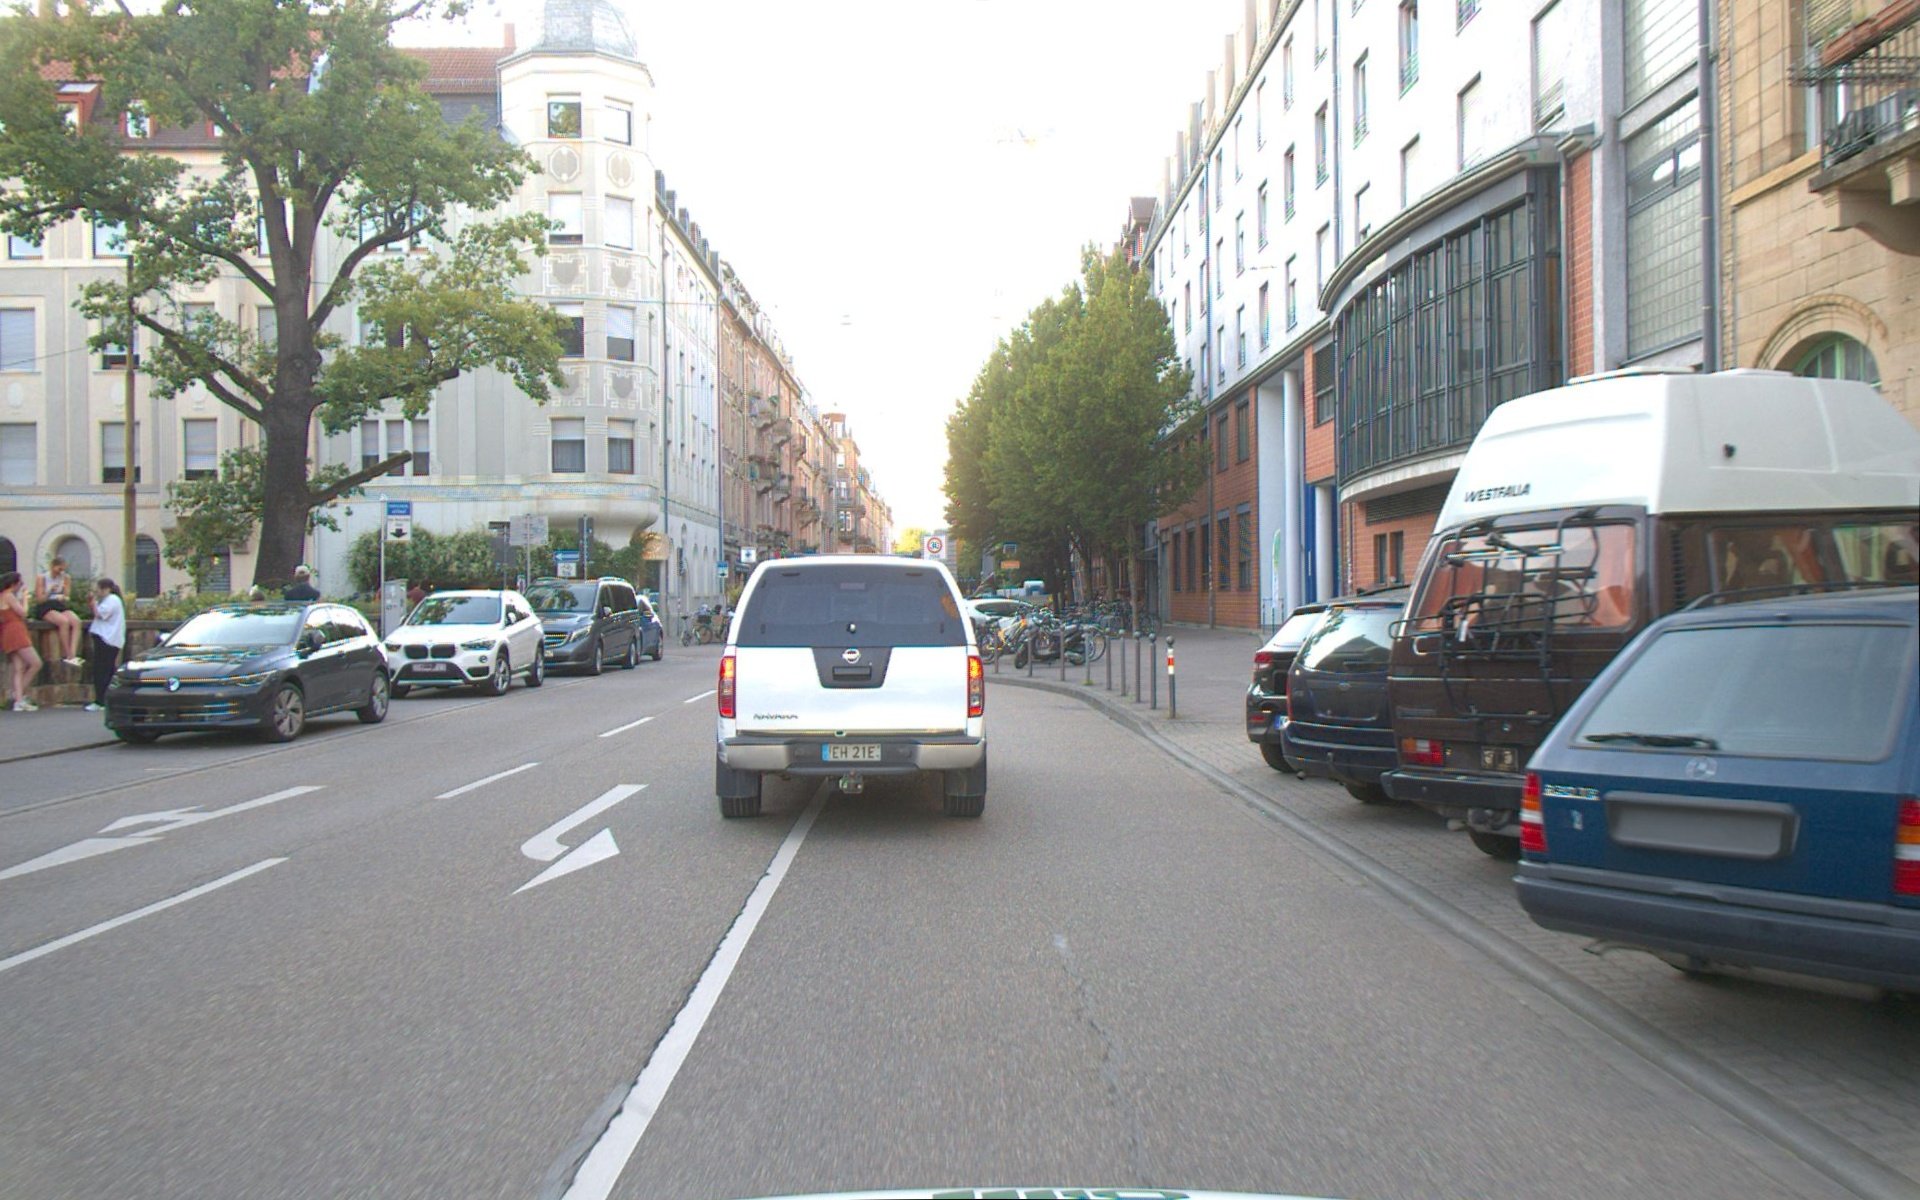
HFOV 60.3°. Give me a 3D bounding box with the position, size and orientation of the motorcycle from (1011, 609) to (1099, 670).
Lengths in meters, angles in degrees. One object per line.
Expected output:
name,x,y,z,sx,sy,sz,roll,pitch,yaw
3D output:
motorcycle,1.892,0.786,33.121,1.614,1.121,0.646,-3,0,-10

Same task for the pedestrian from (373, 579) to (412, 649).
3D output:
pedestrian,-14.452,0.362,42.109,0.692,1.751,0.836,-1,0,-3

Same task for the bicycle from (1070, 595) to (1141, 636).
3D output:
bicycle,5.223,0.559,59.337,2.482,1.403,0.599,-1,0,2

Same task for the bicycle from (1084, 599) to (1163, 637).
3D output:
bicycle,5.235,0.573,53.053,2.482,1.187,0.562,-1,0,2

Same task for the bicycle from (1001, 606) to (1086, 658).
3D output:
bicycle,1.856,0.703,36.852,1.820,1.056,0.402,-3,0,-2

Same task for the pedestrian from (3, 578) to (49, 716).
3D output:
pedestrian,-11.680,0.578,20.680,0.411,1.704,0.540,0,0,-40

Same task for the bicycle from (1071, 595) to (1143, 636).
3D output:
bicycle,5.198,0.564,58.655,2.482,1.403,0.599,-1,0,2

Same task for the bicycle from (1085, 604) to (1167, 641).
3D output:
bicycle,5.261,0.704,52.431,2.482,0.976,0.680,-4,0,2

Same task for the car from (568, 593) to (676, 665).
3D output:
car,-7.884,0.637,38.866,1.606,1.583,4.005,-1,0,1

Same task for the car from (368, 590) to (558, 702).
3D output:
car,-7.874,0.674,26.614,1.833,1.619,4.467,-1,0,-2

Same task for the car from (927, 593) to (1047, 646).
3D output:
car,0.898,0.606,53.480,3.562,1.608,1.696,-1,0,-34

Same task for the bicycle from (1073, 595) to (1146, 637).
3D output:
bicycle,5.231,0.561,57.941,2.482,1.403,0.599,-1,0,2

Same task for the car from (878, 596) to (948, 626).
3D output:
car,-2.901,0.683,102.623,4.106,1.811,1.821,0,0,5

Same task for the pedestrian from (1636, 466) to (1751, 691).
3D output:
pedestrian,6.975,-0.204,15.768,0.594,2.048,0.858,4,0,1

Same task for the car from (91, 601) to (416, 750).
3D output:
car,-7.735,0.752,18.606,1.746,1.460,4.316,-1,0,1

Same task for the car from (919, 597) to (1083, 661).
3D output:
car,1.071,0.716,42.873,3.945,1.533,1.752,-1,0,-30

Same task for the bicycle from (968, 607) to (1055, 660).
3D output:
bicycle,1.116,0.736,36.074,1.820,1.056,0.471,-3,0,-2

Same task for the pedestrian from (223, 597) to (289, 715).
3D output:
pedestrian,-9.587,0.746,22.534,0.570,1.579,0.838,0,0,-4

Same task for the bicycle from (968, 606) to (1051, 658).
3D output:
bicycle,1.122,0.730,37.792,1.820,1.084,0.445,-3,0,-2

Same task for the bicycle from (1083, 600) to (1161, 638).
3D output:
bicycle,5.256,0.600,53.711,2.482,1.187,0.562,-1,0,2

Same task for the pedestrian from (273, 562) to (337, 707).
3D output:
pedestrian,-8.950,0.458,22.625,0.570,1.939,0.802,-1,0,-4

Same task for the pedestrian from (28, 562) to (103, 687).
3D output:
pedestrian,-11.530,0.312,21.329,0.637,1.572,0.585,0,0,23

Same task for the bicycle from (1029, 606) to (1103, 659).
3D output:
bicycle,2.287,0.686,35.602,1.509,1.056,0.471,-3,0,-2

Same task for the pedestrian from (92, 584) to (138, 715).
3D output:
pedestrian,-10.808,0.624,21.144,0.411,1.650,0.540,0,0,-40

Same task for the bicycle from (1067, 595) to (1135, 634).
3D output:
bicycle,5.243,0.546,61.582,2.482,1.403,0.599,-1,0,2

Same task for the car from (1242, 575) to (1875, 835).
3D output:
car,4.303,0.618,11.778,4.294,1.529,1.895,-1,0,-29

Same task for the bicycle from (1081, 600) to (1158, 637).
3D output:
bicycle,5.287,0.604,54.937,2.482,1.187,0.562,-1,0,2

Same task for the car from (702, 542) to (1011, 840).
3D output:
car,-0.683,0.553,12.517,1.894,1.826,4.621,0,0,-1

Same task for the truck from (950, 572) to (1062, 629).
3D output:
truck,2.568,0.041,92.355,6.190,3.029,2.264,0,-3,1

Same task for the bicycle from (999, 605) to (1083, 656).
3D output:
bicycle,1.875,0.703,38.537,1.873,1.084,0.524,-3,0,-2

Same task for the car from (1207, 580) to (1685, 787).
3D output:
car,4.208,0.617,14.157,4.017,1.518,1.705,-1,0,-32

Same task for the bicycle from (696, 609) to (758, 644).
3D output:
bicycle,-7.695,0.856,54.669,2.068,1.114,0.501,0,1,24

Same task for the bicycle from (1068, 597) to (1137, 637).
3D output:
bicycle,5.253,0.622,60.903,2.482,1.403,0.599,-1,0,2

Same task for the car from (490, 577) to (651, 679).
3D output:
car,-7.816,0.516,33.737,1.952,1.899,5.290,-1,0,1

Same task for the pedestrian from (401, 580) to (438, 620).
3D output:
pedestrian,-13.750,0.003,42.097,0.692,0.997,0.836,-1,0,-3

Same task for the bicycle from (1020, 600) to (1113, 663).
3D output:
bicycle,2.202,0.654,34.456,1.821,1.166,0.659,-4,0,-1

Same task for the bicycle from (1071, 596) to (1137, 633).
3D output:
bicycle,5.501,0.551,63.368,2.482,1.403,0.599,-1,0,2

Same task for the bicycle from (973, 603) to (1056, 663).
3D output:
bicycle,1.152,0.694,35.031,1.673,1.196,0.471,-3,0,-2

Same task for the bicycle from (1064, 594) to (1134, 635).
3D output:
bicycle,5.238,0.549,62.250,2.483,1.266,0.599,-6,-1,2

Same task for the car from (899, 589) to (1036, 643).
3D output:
car,0.247,0.471,50.669,3.948,1.564,1.618,-1,0,-32

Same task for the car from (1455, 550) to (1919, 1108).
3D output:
car,4.128,0.555,6.325,4.342,1.512,1.824,-4,1,-32

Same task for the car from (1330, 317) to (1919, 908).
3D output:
car,4.487,0.044,9.261,4.661,2.591,1.899,-1,-1,-30

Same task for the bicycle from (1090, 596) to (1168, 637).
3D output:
bicycle,5.218,0.506,51.224,2.298,1.118,0.680,-4,0,2

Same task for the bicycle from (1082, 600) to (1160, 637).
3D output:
bicycle,5.279,0.607,54.326,2.482,1.187,0.562,-1,0,2

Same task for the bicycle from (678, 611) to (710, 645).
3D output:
bicycle,-8.637,0.908,53.754,0.414,1.030,1.720,0,1,13

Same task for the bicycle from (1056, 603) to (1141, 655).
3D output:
bicycle,3.131,0.649,37.495,1.820,1.084,0.524,-3,0,-2

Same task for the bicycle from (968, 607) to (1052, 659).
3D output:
bicycle,1.130,0.733,37.260,1.820,1.084,0.445,-3,0,-2
